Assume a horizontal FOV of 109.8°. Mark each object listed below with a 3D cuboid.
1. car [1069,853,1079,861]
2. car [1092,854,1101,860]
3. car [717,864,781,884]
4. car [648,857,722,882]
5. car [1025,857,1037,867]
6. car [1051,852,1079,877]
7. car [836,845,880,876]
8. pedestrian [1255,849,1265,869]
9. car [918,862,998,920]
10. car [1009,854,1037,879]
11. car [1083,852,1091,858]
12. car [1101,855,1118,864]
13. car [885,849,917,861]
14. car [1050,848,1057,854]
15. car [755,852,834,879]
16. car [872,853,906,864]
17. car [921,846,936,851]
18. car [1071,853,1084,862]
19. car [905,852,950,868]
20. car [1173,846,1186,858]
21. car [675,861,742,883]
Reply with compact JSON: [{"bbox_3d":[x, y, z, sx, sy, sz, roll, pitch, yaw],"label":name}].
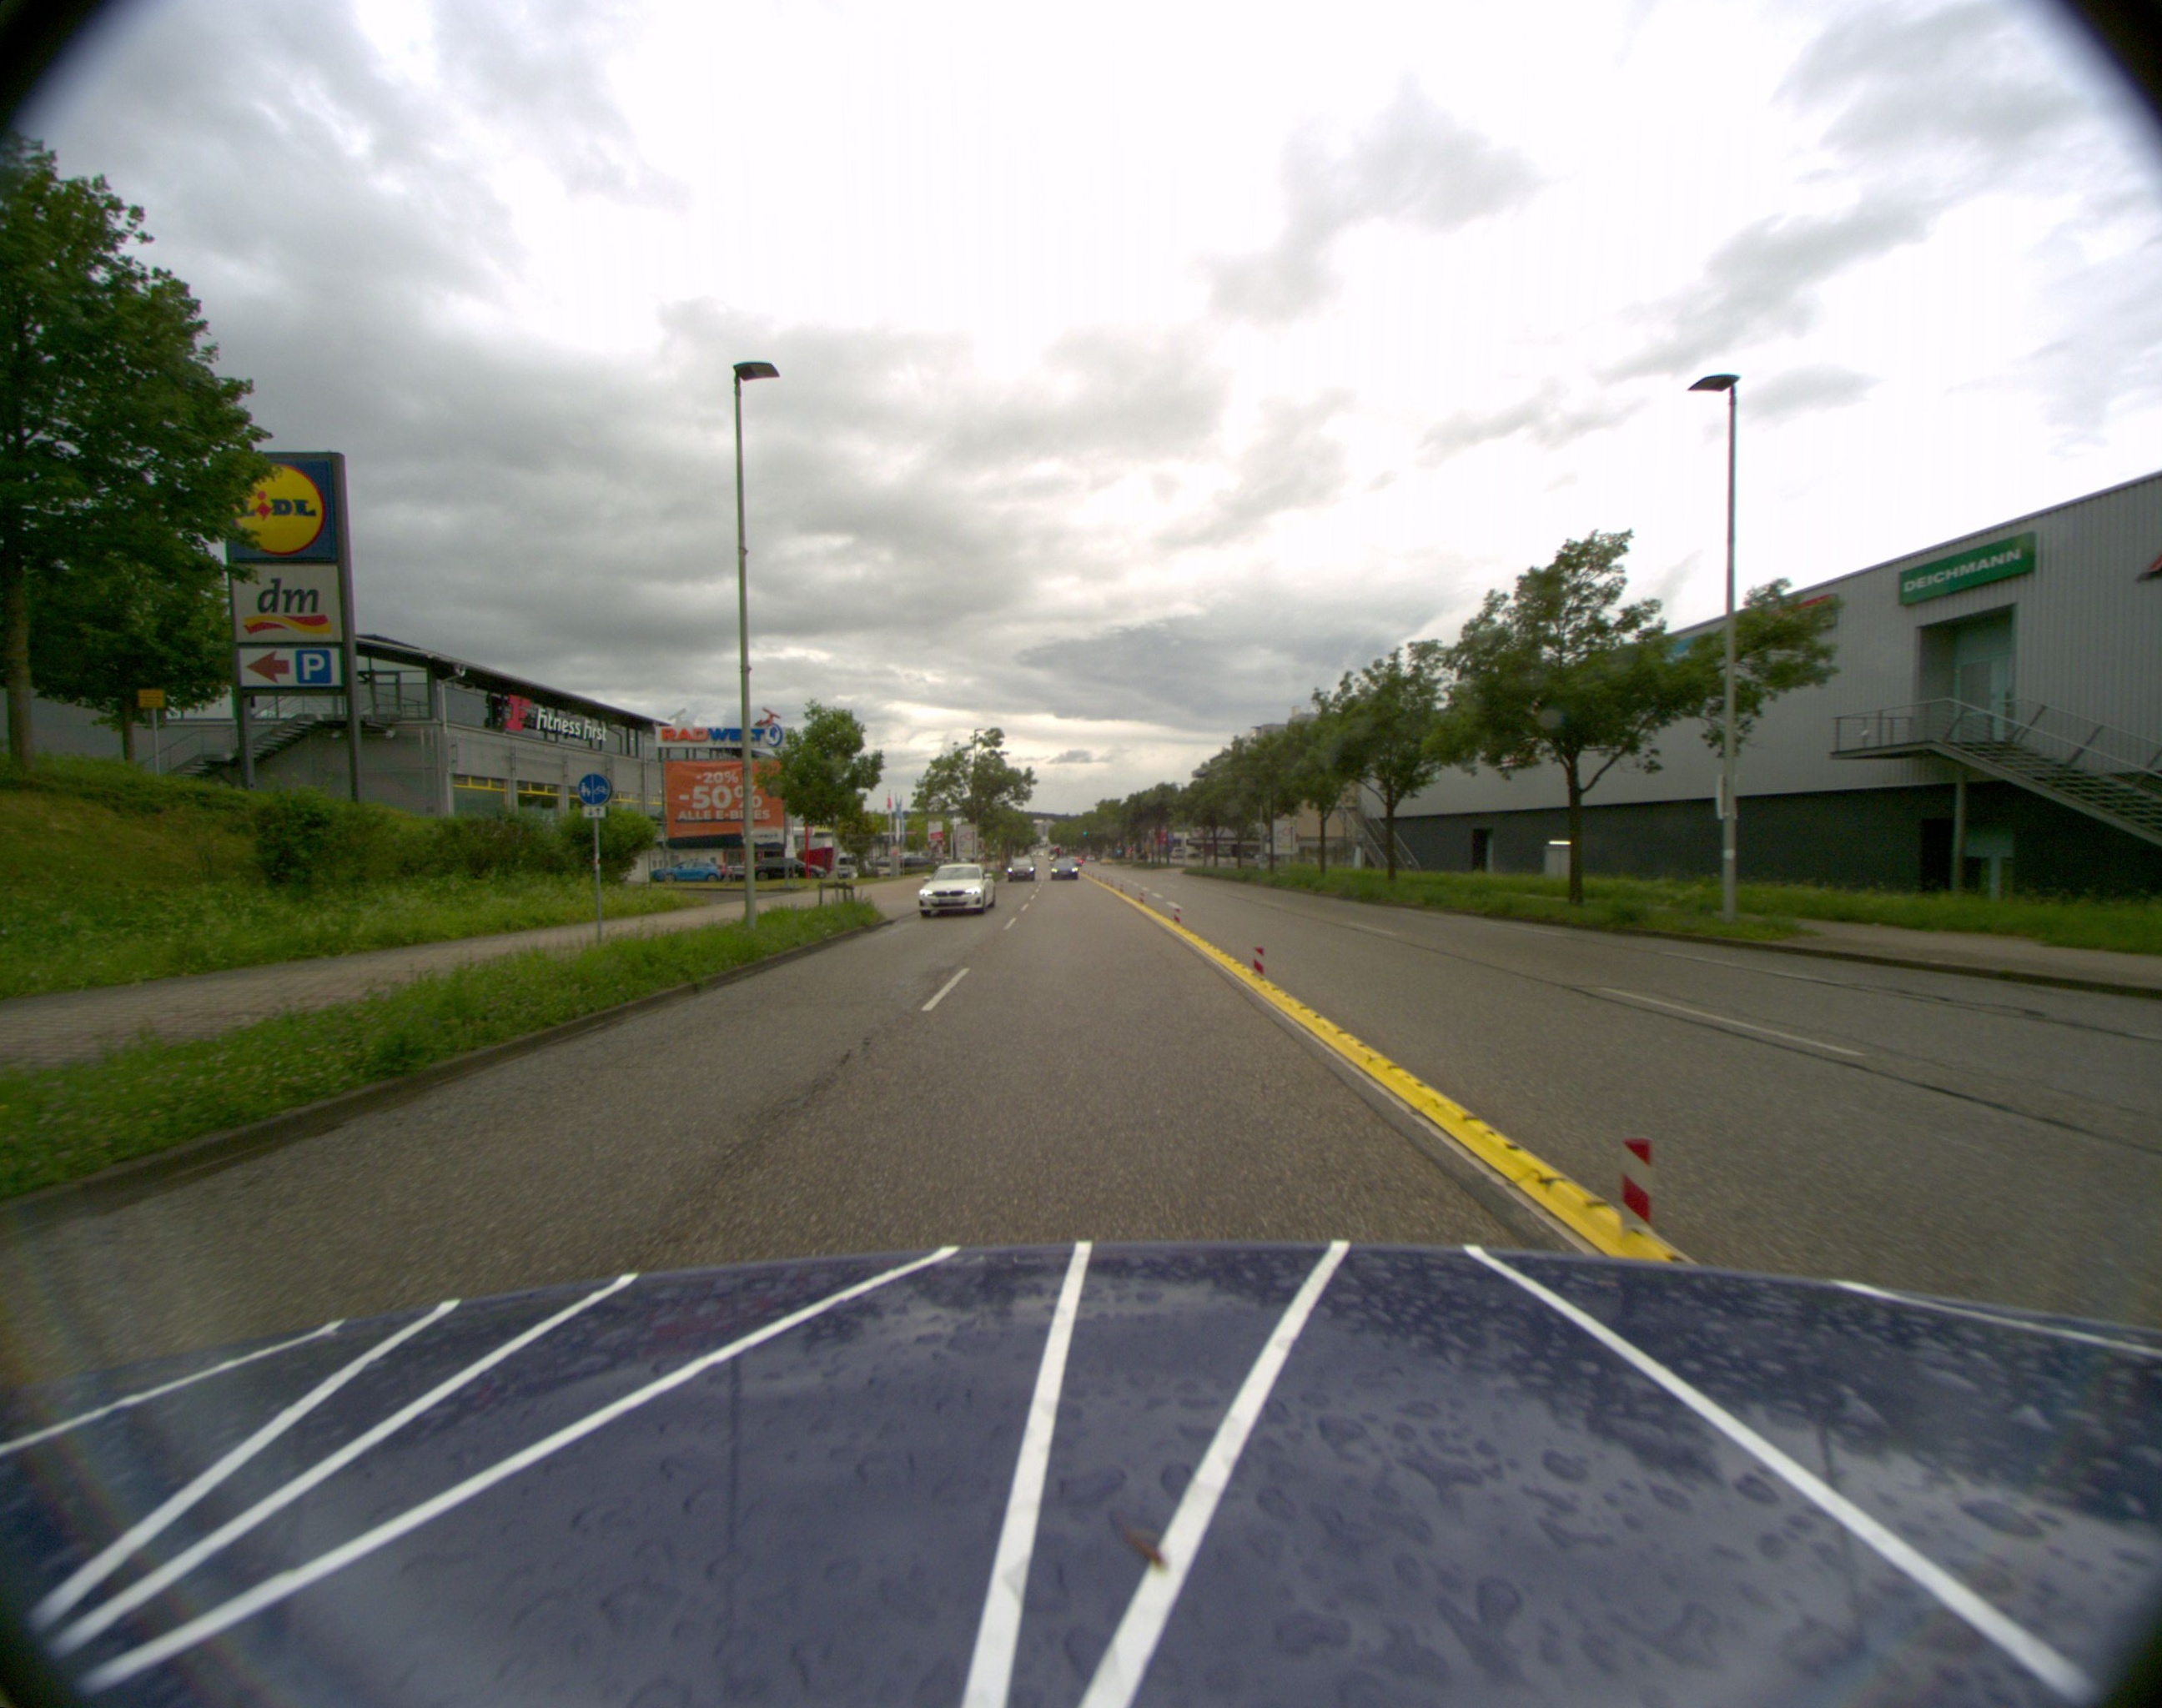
[{"bbox_3d":[-1.279,0.517,140.144,1.754,1.501,3.998,0,0,-4],"label":"car"},{"bbox_3d":[3.690,0.739,181.412,1.745,1.398,4.467,1,1,-2],"label":"car"},{"bbox_3d":[-26.044,1.558,59.705,1.735,1.461,4.269,-3,-2,44],"label":"car"},{"bbox_3d":[-25.930,1.032,49.821,3.919,1.549,1.735,0,-2,-44],"label":"car"},{"bbox_3d":[-7.268,1.136,111.331,1.754,1.501,3.998,0,0,-4],"label":"car"},{"bbox_3d":[-1.138,0.700,52.926,1.799,1.572,4.217,-3,0,-2],"label":"car"},{"bbox_3d":[-19.831,0.573,67.829,2.233,2.522,5.679,-3,0,-1],"label":"car"},{"bbox_3d":[14.878,0.425,63.039,0.586,1.574,0.767,-3,1,-1],"label":"pedestrian"},{"bbox_3d":[-3.630,1.047,23.138,1.808,1.432,4.540,-3,0,-2],"label":"car"},{"bbox_3d":[-3.988,0.834,52.563,1.799,1.572,4.217,-3,0,-4],"label":"car"},{"bbox_3d":[1.604,0.272,205.836,1.745,1.544,4.780,1,0,-2],"label":"car"},{"bbox_3d":[5.001,0.964,133.748,1.623,1.500,3.705,-5,2,-17],"label":"car"},{"bbox_3d":[-28.481,0.164,120.066,4.508,1.672,1.794,2,2,-41],"label":"car"},{"bbox_3d":[-7.303,-0.775,199.398,1.754,1.501,3.998,0,0,-4],"label":"car"},{"bbox_3d":[-16.517,0.666,43.980,4.106,1.429,1.795,-1,-2,-15],"label":"car"},{"bbox_3d":[-27.788,0.611,109.935,4.508,1.388,1.794,2,2,-45],"label":"car"},{"bbox_3d":[-44.121,-1.680,219.464,3.998,1.501,1.799,0,0,-3],"label":"car"},{"bbox_3d":[-0.561,0.594,120.409,1.789,1.398,4.614,0,0,-4],"label":"car"},{"bbox_3d":[-17.580,0.656,87.052,4.664,1.591,1.927,2,0,7],"label":"car"},{"bbox_3d":[18.948,-0.413,146.334,1.998,2.002,4.885,-6,1,2],"label":"car"},{"bbox_3d":[-26.234,1.259,53.571,3.882,1.492,1.735,0,-2,-43],"label":"car"}]
